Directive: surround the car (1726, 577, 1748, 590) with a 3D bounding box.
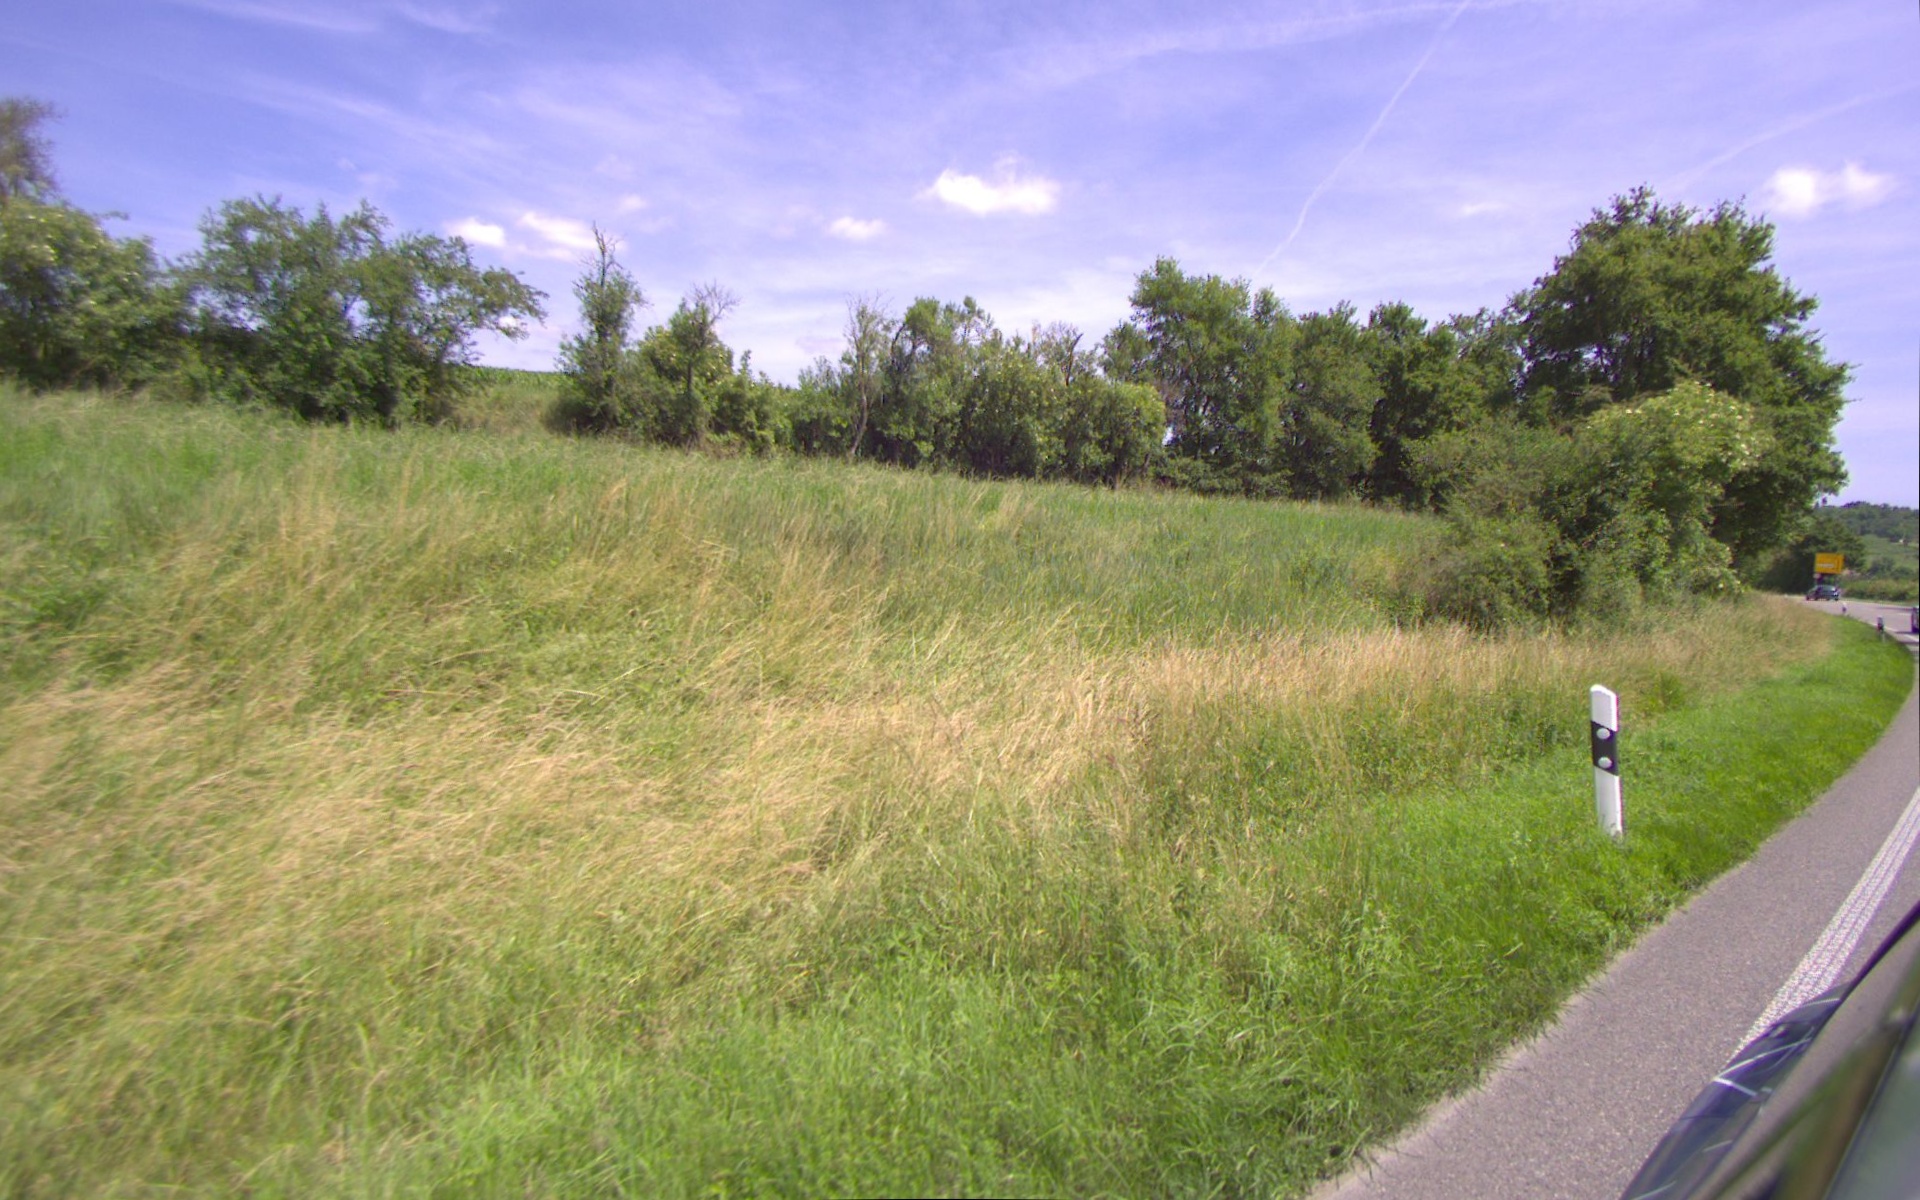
[{"bbox_3d":[95.260,-2.060,124.143,1.662,1.550,3.915,2,2,31],"label":"car"}]

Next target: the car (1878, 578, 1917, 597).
[{"bbox_3d":[84.605,-1.128,91.360,1.753,1.448,4.219,7,6,33],"label":"car"}]
